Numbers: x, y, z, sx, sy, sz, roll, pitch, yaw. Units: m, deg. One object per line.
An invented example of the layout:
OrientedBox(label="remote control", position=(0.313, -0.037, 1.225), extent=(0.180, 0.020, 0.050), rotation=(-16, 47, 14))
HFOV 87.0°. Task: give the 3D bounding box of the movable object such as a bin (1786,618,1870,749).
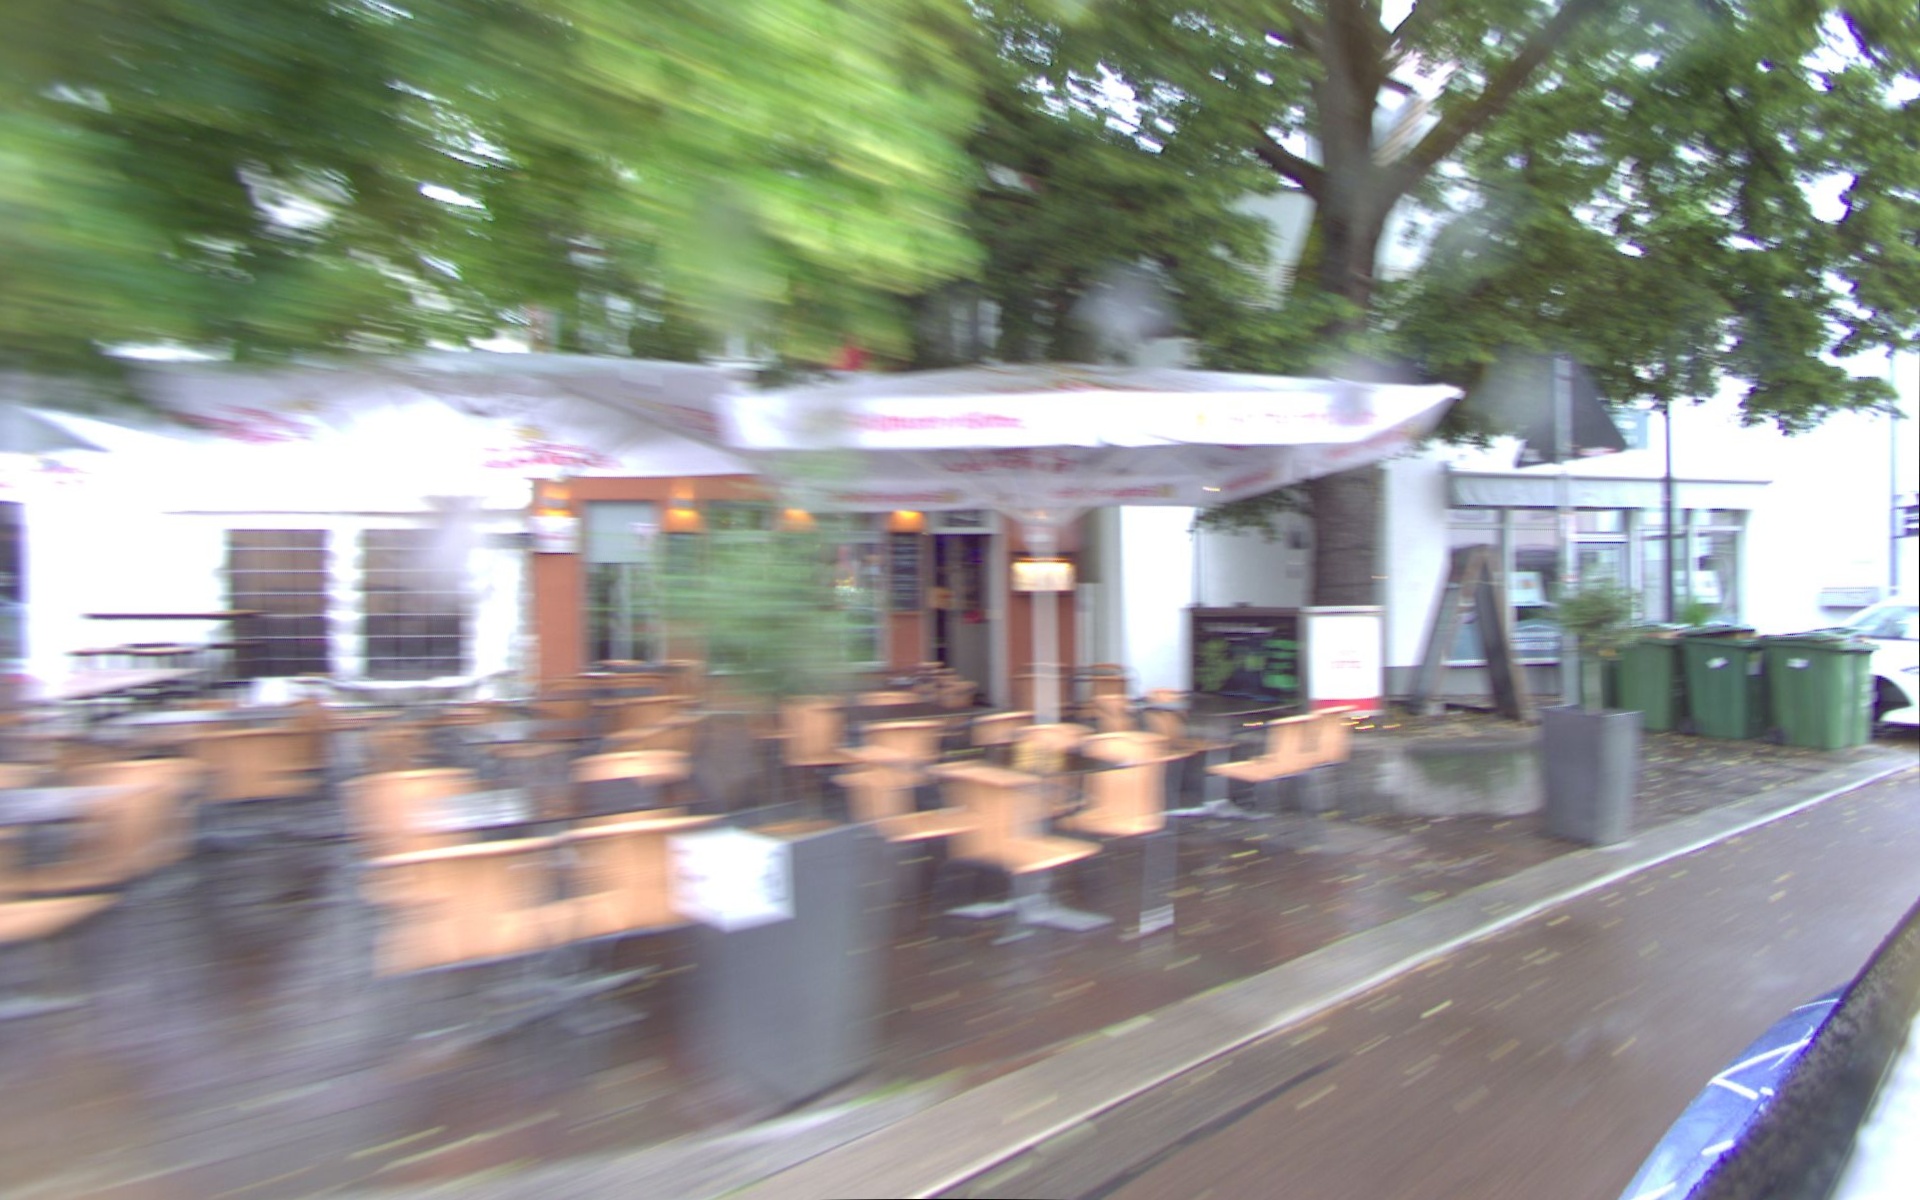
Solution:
OrientedBox(label="movable object such as a bin", position=(8.282, 0.778, 9.659), extent=(0.479, 1.183, 0.479), rotation=(-1, 0, -31))

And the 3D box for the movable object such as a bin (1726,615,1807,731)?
OrientedBox(label="movable object such as a bin", position=(8.524, 0.747, 10.704), extent=(0.491, 1.164, 0.532), rotation=(-1, 0, -31))

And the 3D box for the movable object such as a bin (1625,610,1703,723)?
OrientedBox(label="movable object such as a bin", position=(7.617, 0.703, 10.948), extent=(0.569, 1.164, 0.505), rotation=(-1, 0, -31))

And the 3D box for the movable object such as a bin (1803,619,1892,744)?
OrientedBox(label="movable object such as a bin", position=(8.763, 0.787, 9.997), extent=(0.491, 1.164, 0.536), rotation=(-1, 0, -31))

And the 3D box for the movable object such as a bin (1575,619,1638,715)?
OrientedBox(label="movable object such as a bin", position=(7.441, 0.758, 11.650), extent=(0.491, 1.060, 0.432), rotation=(-1, 0, -31))

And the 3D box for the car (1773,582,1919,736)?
OrientedBox(label="car", position=(11.528, 0.633, 11.535), extent=(4.311, 1.559, 1.699), rotation=(1, 0, -23))

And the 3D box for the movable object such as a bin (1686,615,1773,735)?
OrientedBox(label="movable object such as a bin", position=(7.953, 0.754, 10.466), extent=(0.574, 1.164, 0.546), rotation=(-1, 0, -31))
